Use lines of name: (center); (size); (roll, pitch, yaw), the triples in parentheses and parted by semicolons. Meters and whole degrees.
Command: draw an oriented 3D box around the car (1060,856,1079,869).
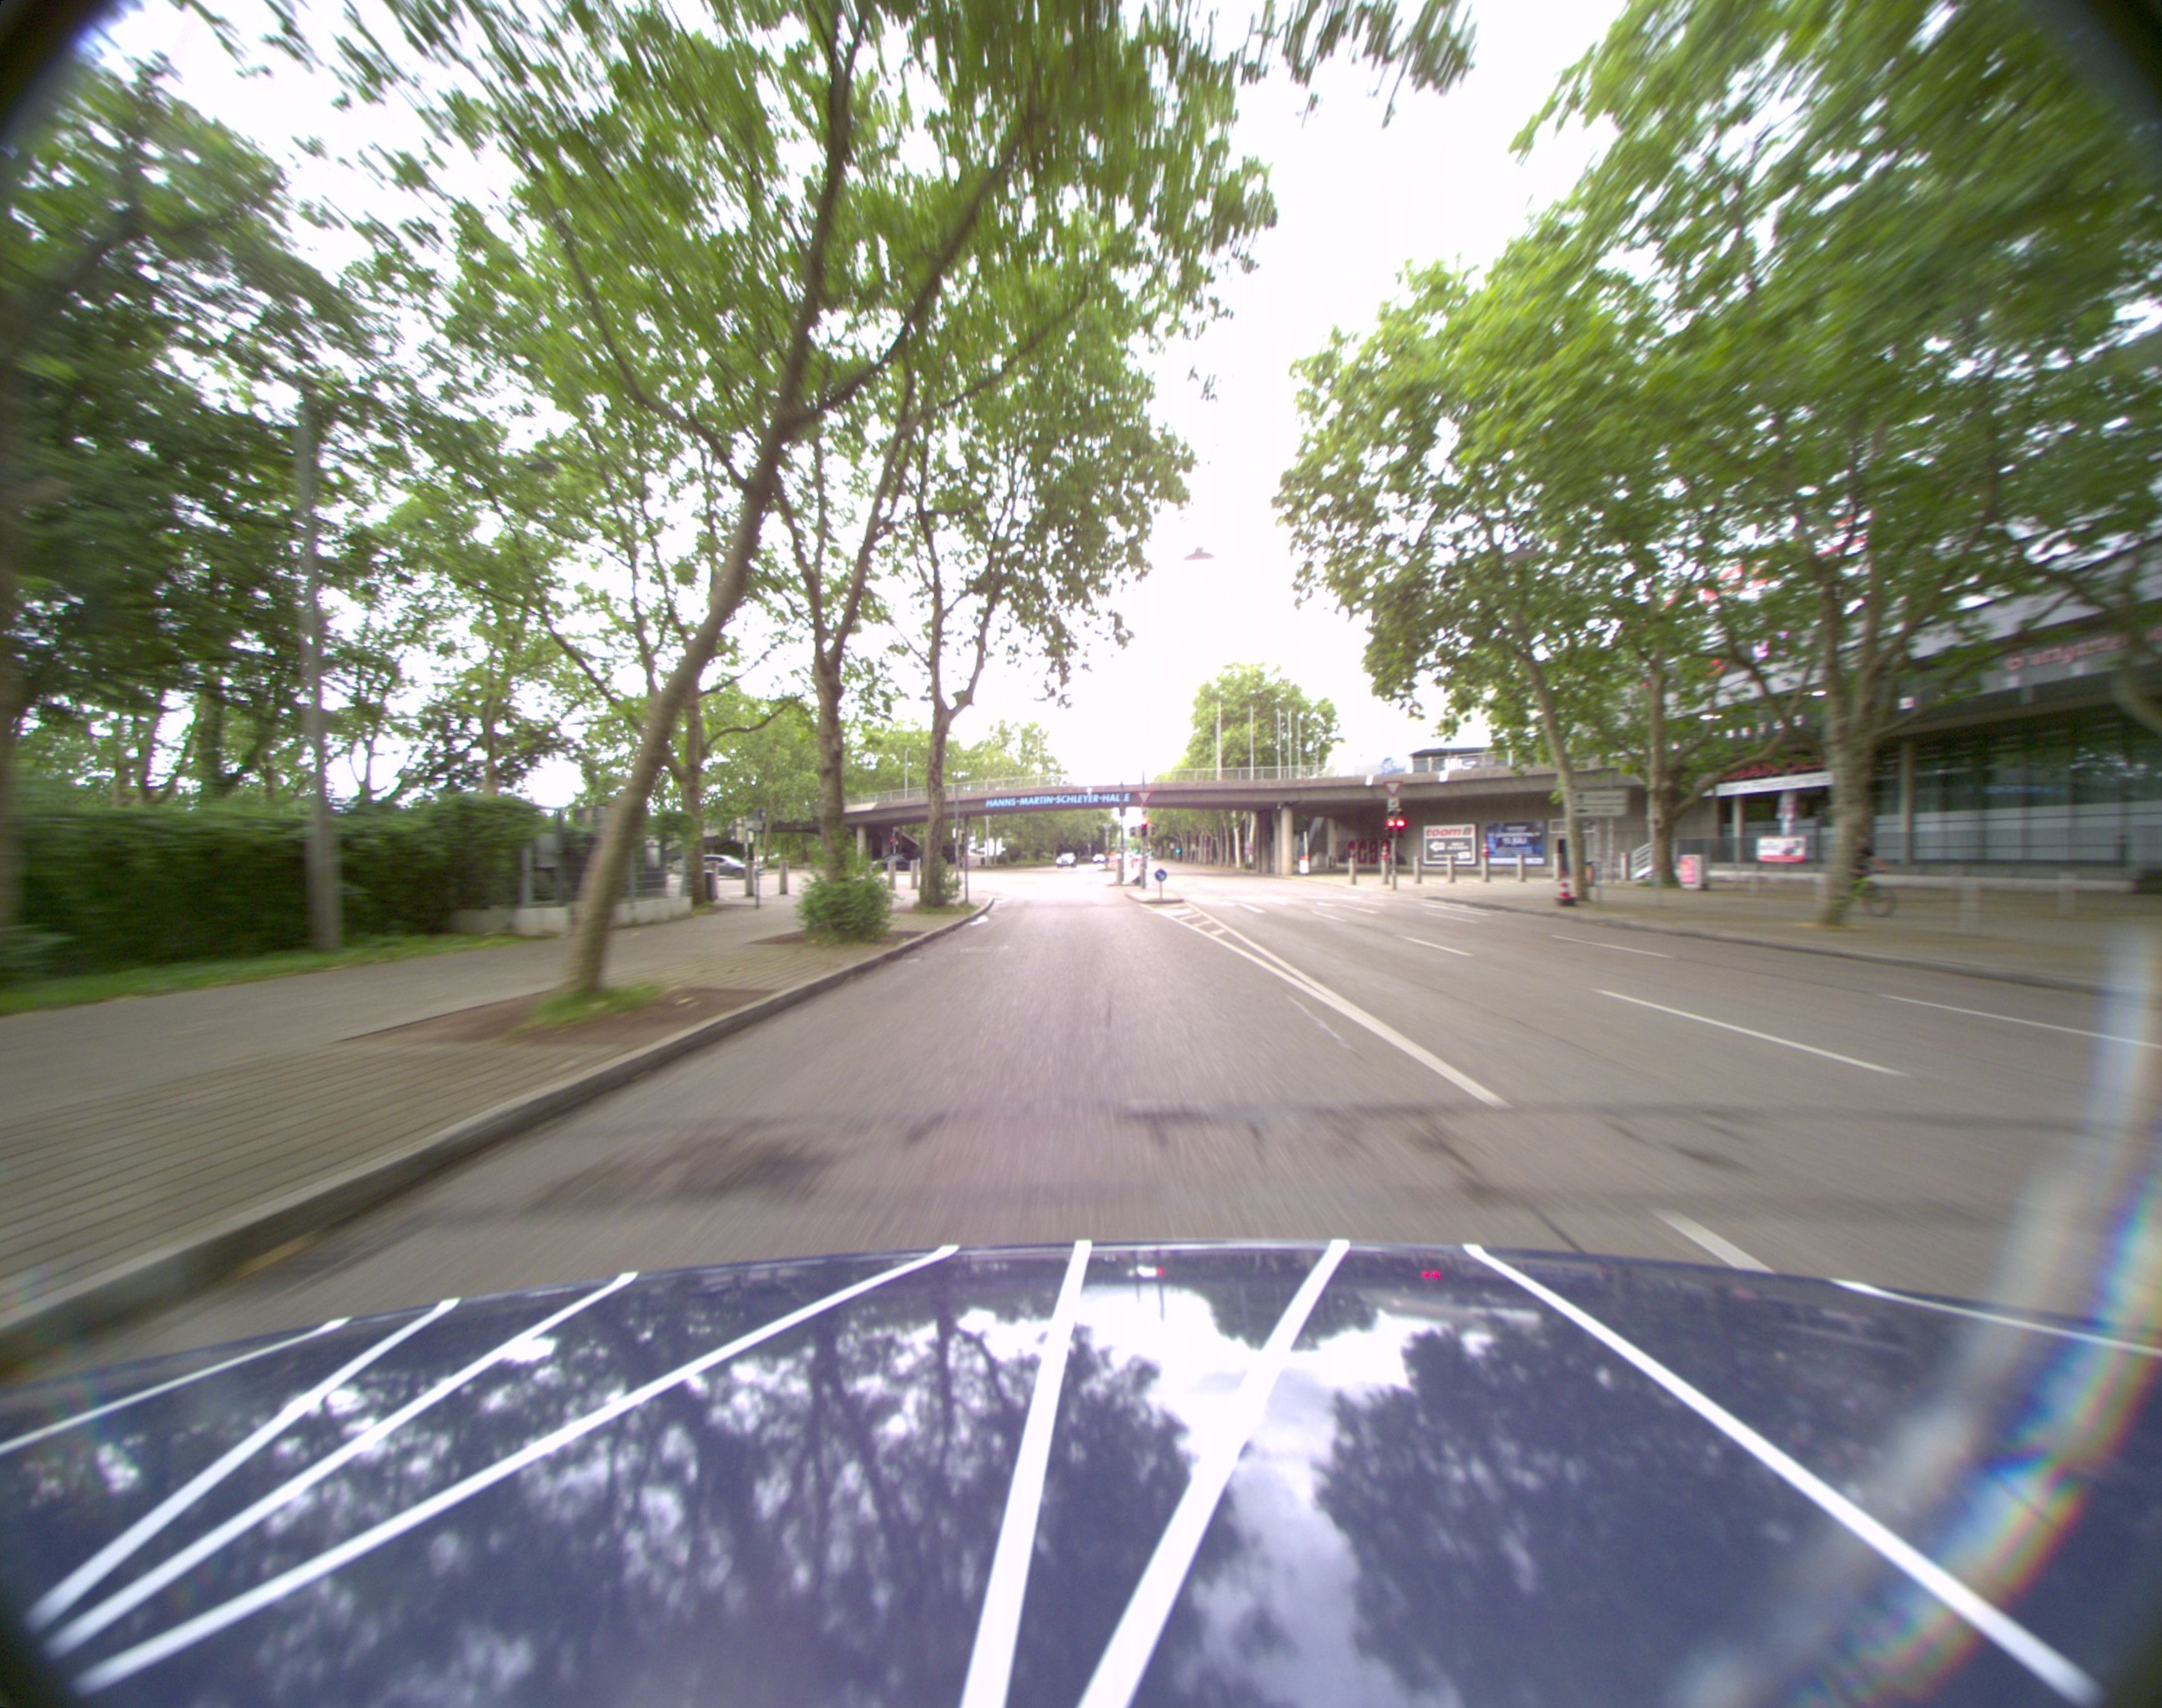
car: (-1.298, 0.962, 86.921); (1.761, 1.356, 3.716); (1, 2, 5)

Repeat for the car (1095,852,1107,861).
car: (3.583, 0.446, 136.825); (1.761, 1.356, 3.717); (1, 2, 7)

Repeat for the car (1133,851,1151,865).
car: (6.852, 0.473, 85.442); (1.832, 1.443, 4.078); (0, 1, 8)

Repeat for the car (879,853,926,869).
car: (-15.147, 0.570, 64.428); (3.720, 1.314, 1.760); (0, 2, -22)

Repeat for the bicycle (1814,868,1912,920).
bicycle: (17.023, 0.850, 16.585); (0.516, 1.007, 1.537); (0, 2, 1)

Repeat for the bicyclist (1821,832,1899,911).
bicyclist: (17.032, 0.364, 16.636); (0.766, 1.688, 0.854); (0, 2, 1)

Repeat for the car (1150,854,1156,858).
car: (20.618, 0.536, 218.719); (1.614, 1.305, 3.396); (0, 1, 5)

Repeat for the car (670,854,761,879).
car: (-22.637, 0.751, 47.176); (4.682, 1.437, 1.888); (-1, 0, 3)
